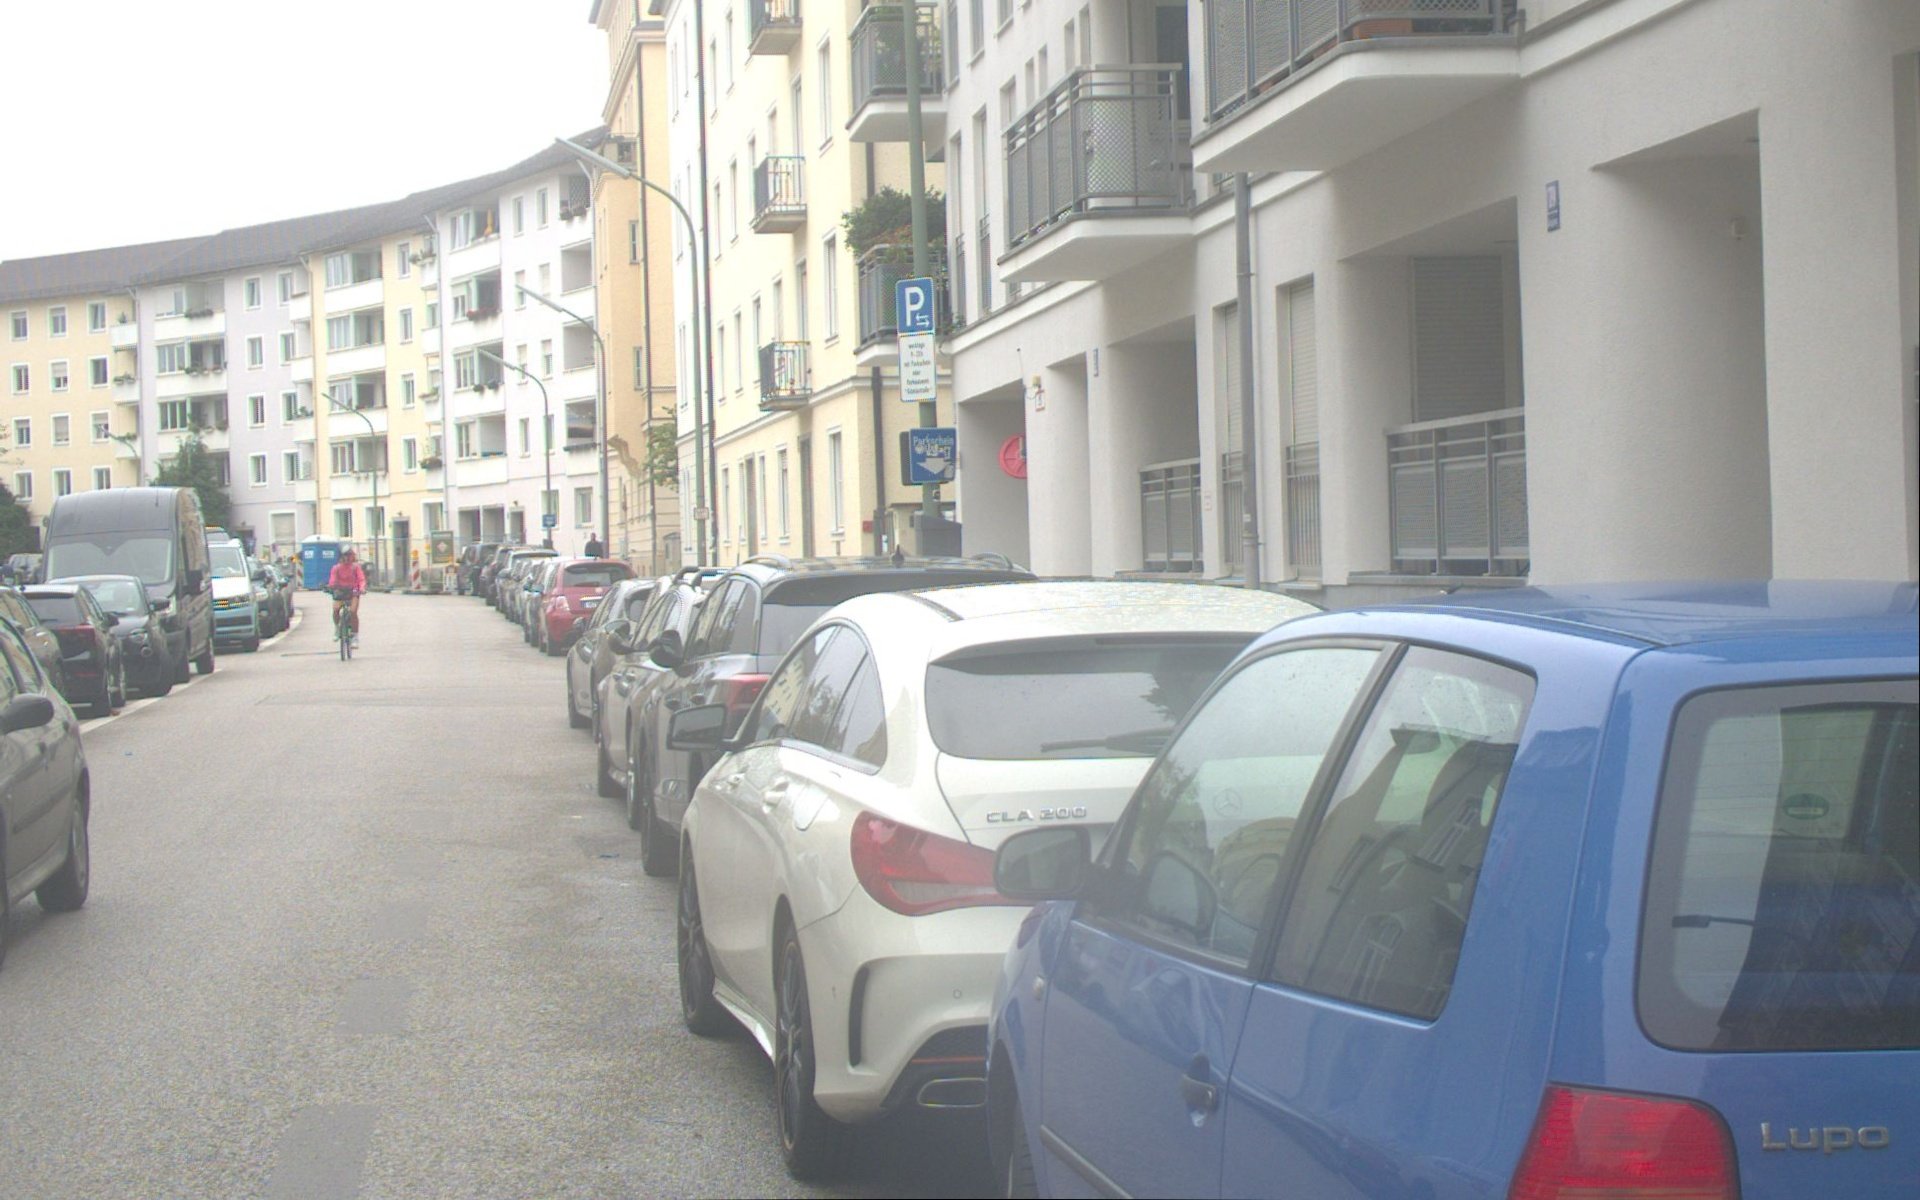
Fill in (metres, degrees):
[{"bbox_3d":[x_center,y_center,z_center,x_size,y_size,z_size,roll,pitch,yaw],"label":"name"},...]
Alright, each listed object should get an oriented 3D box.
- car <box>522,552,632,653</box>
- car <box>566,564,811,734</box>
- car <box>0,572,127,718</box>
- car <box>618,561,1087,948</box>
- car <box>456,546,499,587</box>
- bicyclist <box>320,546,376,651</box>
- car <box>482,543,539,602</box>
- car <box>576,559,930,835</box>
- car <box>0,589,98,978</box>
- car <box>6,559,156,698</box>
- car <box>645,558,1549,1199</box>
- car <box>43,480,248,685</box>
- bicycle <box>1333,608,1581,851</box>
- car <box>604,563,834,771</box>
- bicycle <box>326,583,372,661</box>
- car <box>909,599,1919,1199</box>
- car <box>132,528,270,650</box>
[{"bbox_3d":[-6.133,0.012,54.773,1.595,1.503,3.802,-2,1,-8],"label":"car"},{"bbox_3d":[-2.528,0.404,31.175,1.763,1.403,4.080,-1,0,-11],"label":"car"},{"bbox_3d":[-10.160,0.461,37.839,1.700,1.441,3.826,-1,2,-10],"label":"car"},{"bbox_3d":[-0.616,0.599,15.683,1.603,1.525,3.985,1,1,-9],"label":"car"},{"bbox_3d":[-15.513,-1.088,110.462,1.272,1.294,2.798,-1,1,-10],"label":"car"},{"bbox_3d":[-9.334,-0.028,52.473,0.694,1.556,0.967,-3,1,-5],"label":"bicyclist"},{"bbox_3d":[-13.009,-0.807,99.432,1.473,1.635,4.002,0,1,-10],"label":"car"},{"bbox_3d":[-1.411,0.523,21.592,1.733,1.525,4.623,1,1,-9],"label":"car"},{"bbox_3d":[-4.421,0.693,13.412,1.581,1.406,3.613,-2,1,-7],"label":"car"},{"bbox_3d":[-10.700,0.309,42.018,1.585,1.533,3.545,-3,1,-12],"label":"car"},{"bbox_3d":[0.122,0.618,9.487,1.657,1.435,4.208,1,1,-9],"label":"car"},{"bbox_3d":[-11.263,-0.300,47.893,2.087,2.627,5.378,-2,2,-7],"label":"car"},{"bbox_3d":[2.601,0.648,18.238,0.627,1.156,2.128,-2,1,-10],"label":"bicycle"},{"bbox_3d":[-1.954,0.472,27.073,1.519,1.525,3.527,0,1,-9],"label":"car"},{"bbox_3d":[-9.317,0.327,52.449,0.504,1.124,1.773,-3,1,-5],"label":"bicycle"},{"bbox_3d":[1.007,0.722,5.095,1.618,1.407,3.554,1,0,-10],"label":"car"},{"bbox_3d":[-13.272,-0.235,60.357,1.882,1.925,4.602,-3,2,-8],"label":"car"}]
